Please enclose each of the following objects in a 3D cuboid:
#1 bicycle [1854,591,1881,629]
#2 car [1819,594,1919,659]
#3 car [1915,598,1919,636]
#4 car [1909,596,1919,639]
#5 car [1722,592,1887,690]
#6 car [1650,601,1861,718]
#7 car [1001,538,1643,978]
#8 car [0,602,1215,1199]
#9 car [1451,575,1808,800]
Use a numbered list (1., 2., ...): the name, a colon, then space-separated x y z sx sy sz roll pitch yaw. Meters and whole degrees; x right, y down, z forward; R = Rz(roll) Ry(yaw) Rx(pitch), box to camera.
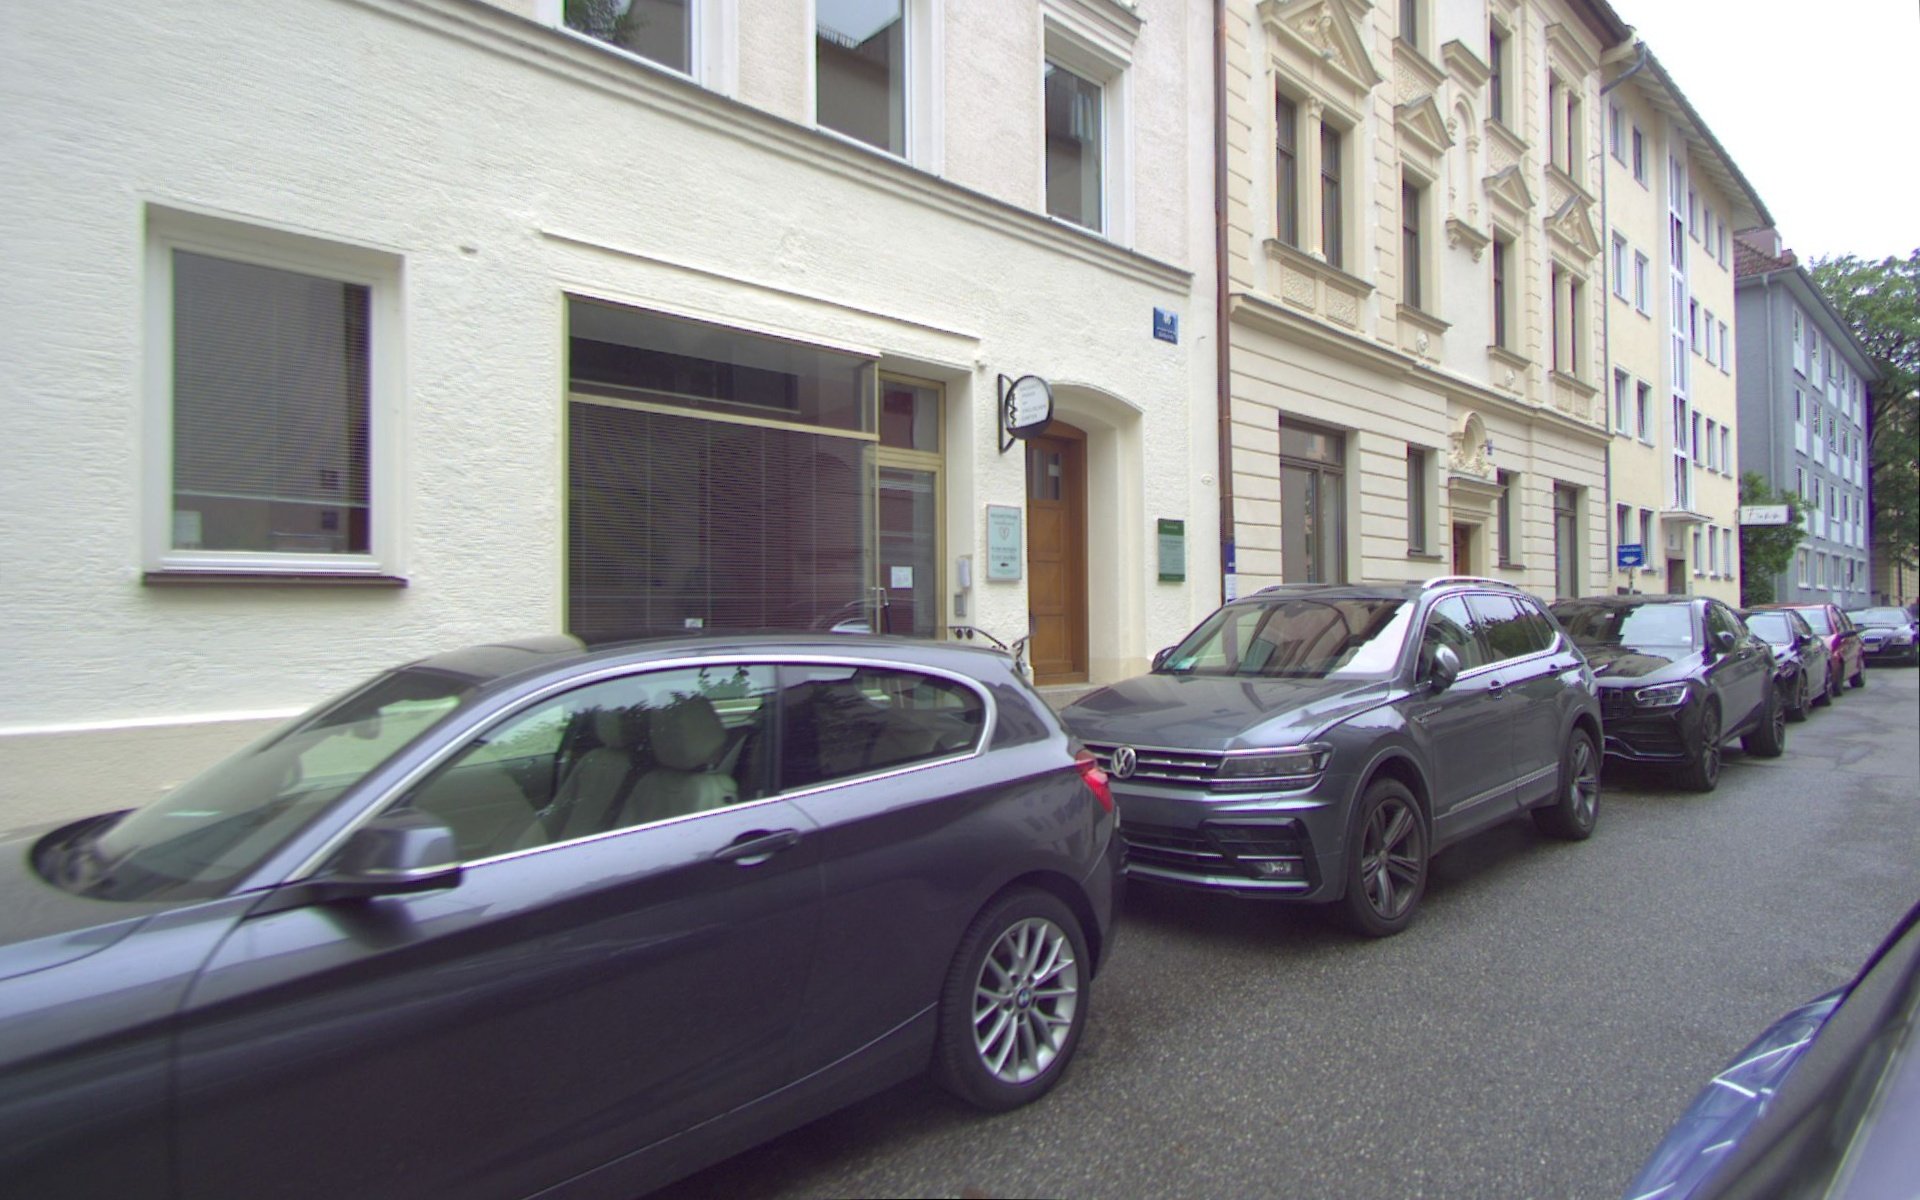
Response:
1. bicycle: 36.331 0.390 40.502 2.240 1.505 0.515 0 -1 -42
2. car: 21.748 0.590 23.717 4.432 1.352 1.827 0 -4 -43
3. car: 37.879 0.554 38.438 4.407 1.420 1.792 0 -4 -41
4. car: 34.444 0.526 35.157 4.193 1.447 1.841 0 -5 -44
5. car: 14.731 0.642 17.590 3.787 1.511 1.678 0 -1 -42
6. car: 11.313 0.743 14.305 3.996 1.411 1.678 0 -1 -42
7. car: 2.414 0.609 6.002 4.435 1.682 1.678 0 -1 -42
8. car: -1.264 0.721 2.824 4.275 1.403 1.802 0 0 -43
9. car: 6.465 0.640 9.534 4.604 1.627 1.704 0 -1 -42
